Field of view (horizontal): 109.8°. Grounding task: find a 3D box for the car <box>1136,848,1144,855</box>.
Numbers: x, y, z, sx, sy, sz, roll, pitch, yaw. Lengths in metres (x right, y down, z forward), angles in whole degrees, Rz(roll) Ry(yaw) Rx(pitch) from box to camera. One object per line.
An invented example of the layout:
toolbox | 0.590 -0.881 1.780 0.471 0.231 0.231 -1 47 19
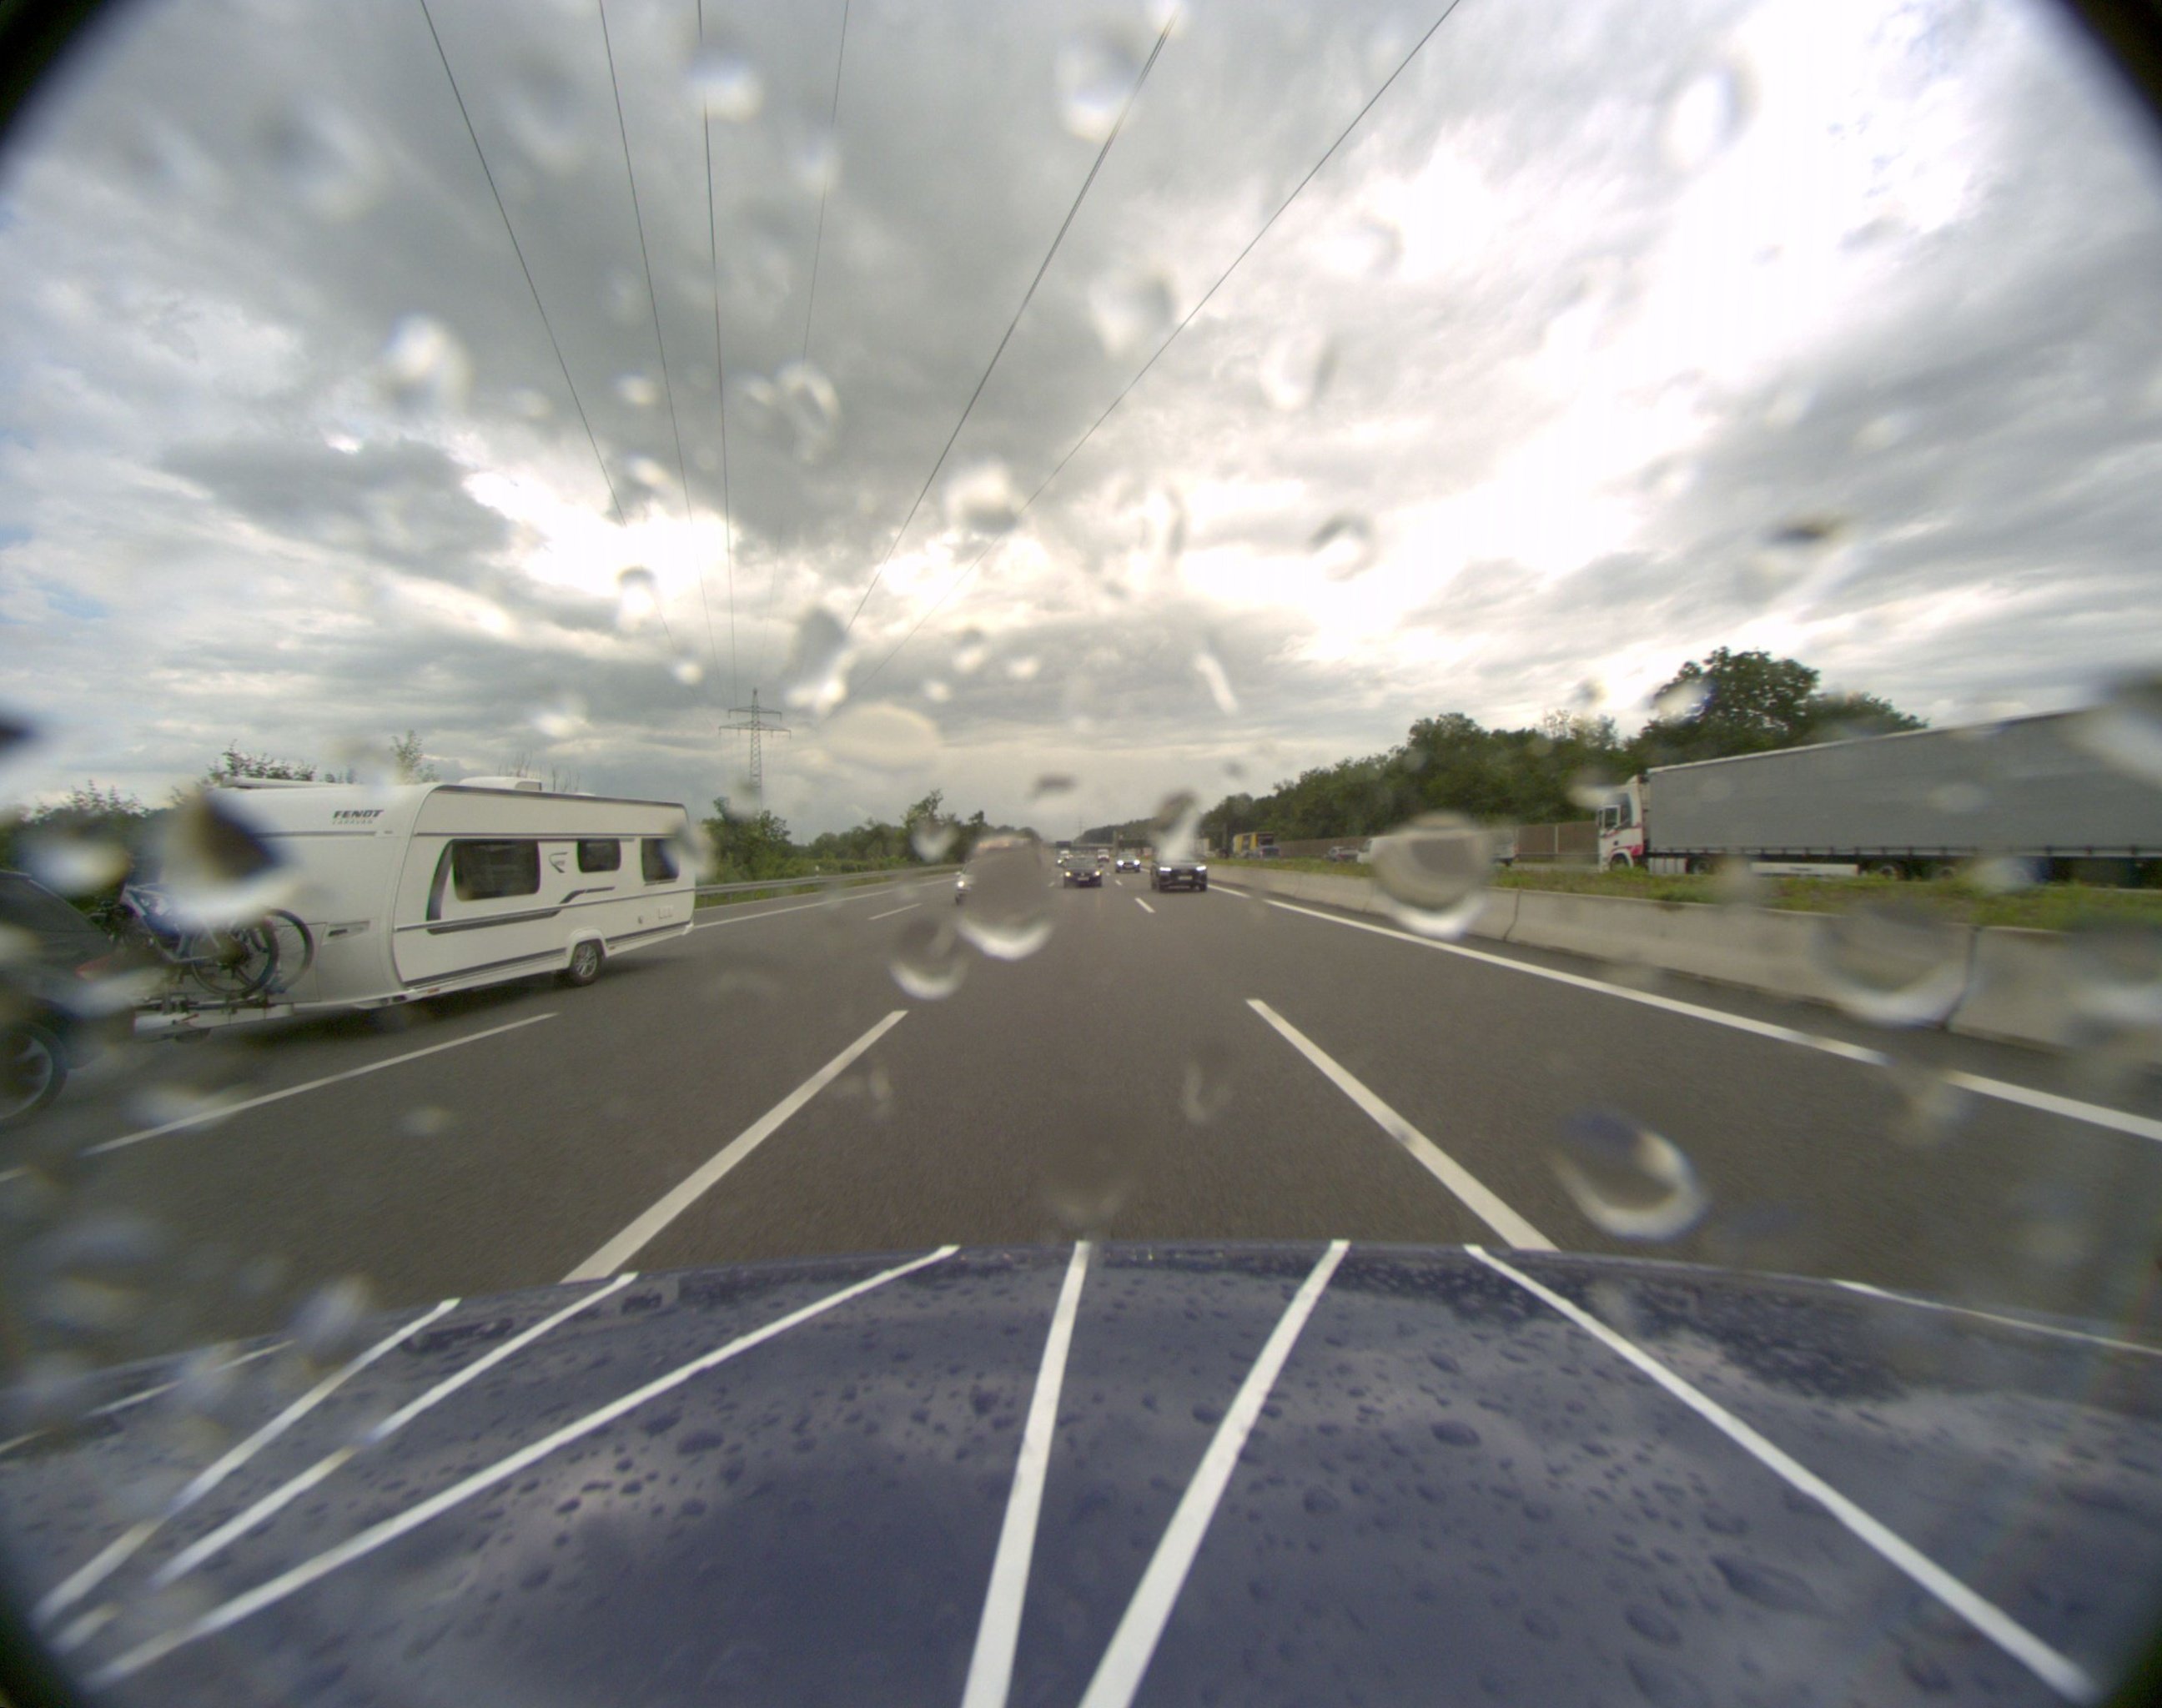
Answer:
car | 14.478 -0.571 186.060 1.592 1.528 3.547 -2 1 0

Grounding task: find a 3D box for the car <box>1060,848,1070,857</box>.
car | -3.655 -0.378 170.178 1.998 2.002 4.000 -2 1 1

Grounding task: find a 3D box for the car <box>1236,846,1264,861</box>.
car | 18.478 -0.087 83.302 1.770 1.540 5.713 -2 1 0

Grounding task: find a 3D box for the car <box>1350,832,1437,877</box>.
car | 14.552 -0.017 35.783 1.927 1.888 5.160 -2 1 0

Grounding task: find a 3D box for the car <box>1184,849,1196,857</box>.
car | 21.705 -0.230 150.921 1.763 1.528 3.999 -2 1 0

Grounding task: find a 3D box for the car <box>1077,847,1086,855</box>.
car | 0.164 -0.688 192.801 1.998 2.002 4.000 -2 1 1

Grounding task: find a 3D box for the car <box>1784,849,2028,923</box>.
car | 28.111 0.980 26.318 2.121 2.181 5.797 -2 1 0

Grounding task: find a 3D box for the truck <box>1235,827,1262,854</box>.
truck | 26.355 -2.079 119.822 2.684 3.941 6.442 -2 1 1

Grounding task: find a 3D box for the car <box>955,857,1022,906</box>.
car | -3.037 0.869 25.729 1.683 1.437 4.000 -2 1 1

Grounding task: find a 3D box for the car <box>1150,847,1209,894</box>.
car | 3.888 0.578 30.765 1.913 1.681 5.169 -2 1 3

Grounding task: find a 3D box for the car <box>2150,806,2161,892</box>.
car | 25.921 -0.137 15.726 2.007 2.002 4.000 -2 1 2

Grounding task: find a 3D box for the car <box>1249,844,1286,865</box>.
car | 14.478 0.045 59.263 1.770 1.528 4.482 -2 1 0

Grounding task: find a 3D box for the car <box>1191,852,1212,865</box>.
car | 14.993 0.561 94.882 1.770 1.528 5.160 -2 1 0

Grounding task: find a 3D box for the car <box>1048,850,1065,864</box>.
car | -3.191 0.376 98.009 1.998 1.701 3.999 -2 1 0

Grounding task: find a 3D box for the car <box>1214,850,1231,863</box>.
car | 22.530 0.375 121.344 1.770 1.883 5.038 -2 1 0

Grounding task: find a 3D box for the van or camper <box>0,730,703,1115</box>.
van or camper | -7.528 0.483 9.070 2.390 2.723 7.207 -2 1 -1

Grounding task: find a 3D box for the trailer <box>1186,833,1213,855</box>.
trailer | 22.180 -1.824 143.248 2.732 3.863 14.050 -2 1 0

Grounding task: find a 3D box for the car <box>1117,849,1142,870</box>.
car | 3.897 0.426 61.432 1.840 1.615 4.915 -2 0 3

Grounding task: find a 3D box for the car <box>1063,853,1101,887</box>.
car | 0.084 0.732 36.466 1.717 1.437 4.000 -2 1 1

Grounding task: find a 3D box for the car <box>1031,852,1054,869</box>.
car | -3.533 0.545 69.933 1.840 1.437 4.000 -2 1 1

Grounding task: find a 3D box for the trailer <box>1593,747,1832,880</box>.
trailer | 21.706 -1.283 26.695 3.327 4.020 6.078 -2 1 1

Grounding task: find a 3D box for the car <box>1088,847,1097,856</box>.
car | 2.703 -0.684 178.708 1.998 2.002 4.000 -2 1 1

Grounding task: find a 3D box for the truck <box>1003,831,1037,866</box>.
truck | -6.910 -0.652 87.693 2.870 3.633 9.594 -2 1 1

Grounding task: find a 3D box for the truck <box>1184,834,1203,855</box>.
truck | 22.190 -1.881 149.865 2.732 3.863 6.003 -2 1 0

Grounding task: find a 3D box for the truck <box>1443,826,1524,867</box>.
truck | 26.059 -0.485 49.483 2.121 2.403 5.795 -2 1 0

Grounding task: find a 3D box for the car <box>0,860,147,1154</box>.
car | -7.486 0.968 3.031 1.925 1.766 4.501 -2 1 -1

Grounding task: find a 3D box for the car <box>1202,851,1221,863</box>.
car | 18.555 0.446 108.308 1.770 1.528 5.239 -2 1 0

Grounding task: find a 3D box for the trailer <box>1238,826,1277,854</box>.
trailer | 26.278 -2.015 113.759 2.684 3.941 14.051 -2 1 1

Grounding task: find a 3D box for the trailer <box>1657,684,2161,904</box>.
trailer | 21.611 -1.213 19.710 3.327 4.038 13.287 -2 1 1

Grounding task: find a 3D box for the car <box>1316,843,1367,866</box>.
car | 18.424 0.007 53.978 1.770 1.528 5.160 -2 1 0

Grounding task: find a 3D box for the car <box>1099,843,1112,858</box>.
car | 4.245 -0.569 132.527 1.998 2.524 4.808 -2 1 1

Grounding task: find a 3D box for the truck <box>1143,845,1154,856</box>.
truck | 18.154 -0.878 205.926 2.335 2.812 6.248 -2 1 0
